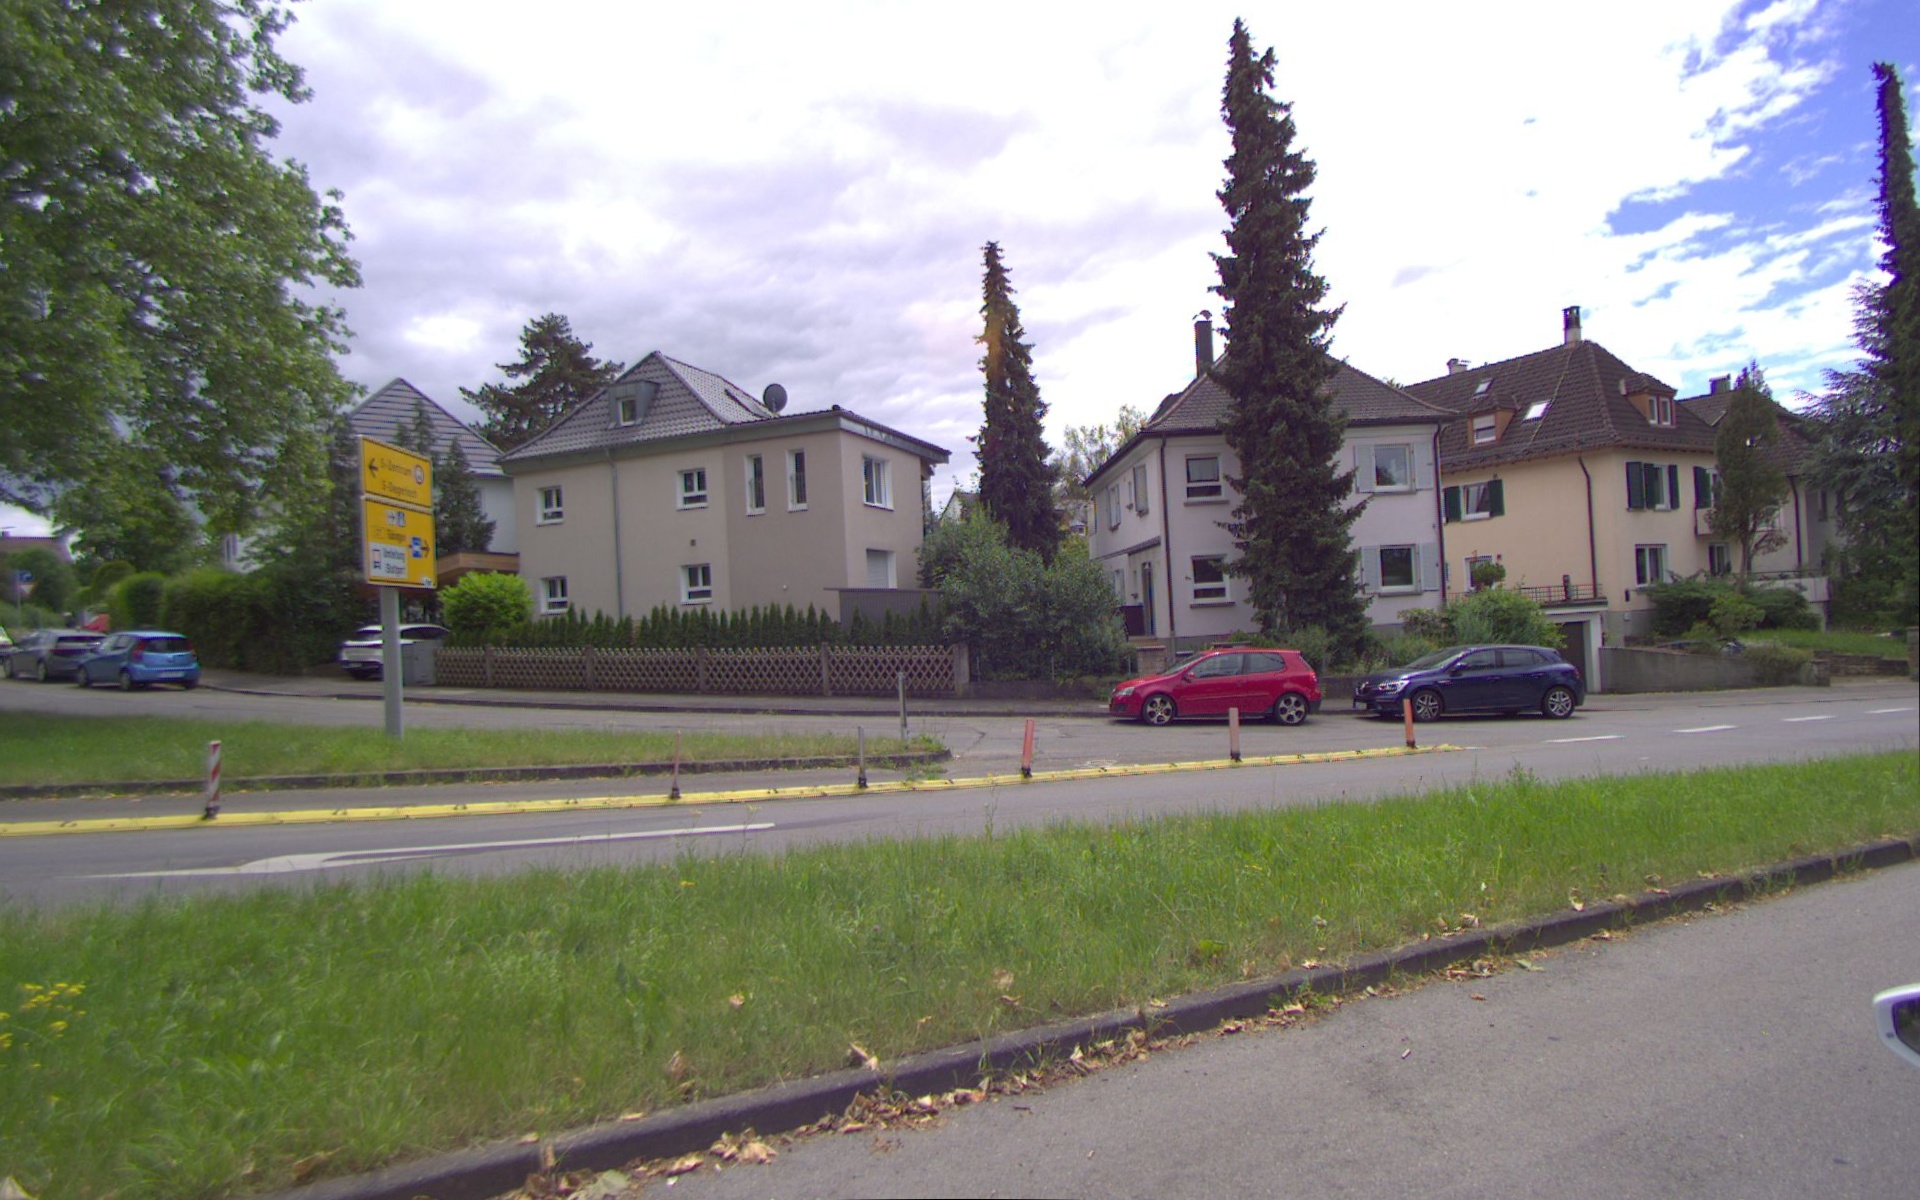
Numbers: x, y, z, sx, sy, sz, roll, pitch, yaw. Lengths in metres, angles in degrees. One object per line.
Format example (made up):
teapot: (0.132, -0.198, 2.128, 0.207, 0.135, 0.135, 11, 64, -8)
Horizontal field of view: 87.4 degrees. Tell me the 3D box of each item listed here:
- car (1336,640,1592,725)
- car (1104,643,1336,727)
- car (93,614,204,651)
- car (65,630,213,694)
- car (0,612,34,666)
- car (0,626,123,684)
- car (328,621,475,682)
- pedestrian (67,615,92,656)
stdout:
car: (9.941, 1.600, 20.026, 4.231, 1.493, 1.732, -1, -2, -3)
car: (5.106, 1.675, 20.161, 4.193, 1.493, 1.733, -1, -2, 2)
car: (-36.324, 1.435, 45.000, 3.796, 1.537, 1.590, 0, -1, -42)
car: (-23.146, 1.697, 28.313, 3.708, 1.576, 1.781, 0, 2, 26)
car: (-35.801, 1.416, 36.728, 4.809, 1.815, 2.206, 1, 2, 40)
car: (-27.354, 1.629, 30.484, 3.924, 1.534, 1.659, 0, 2, 29)
car: (-16.809, 1.519, 30.371, 1.842, 1.568, 3.375, -4, -1, 27)
pedestrian: (-34.847, 1.412, 39.763, 0.565, 1.585, 0.638, -3, 0, -30)
